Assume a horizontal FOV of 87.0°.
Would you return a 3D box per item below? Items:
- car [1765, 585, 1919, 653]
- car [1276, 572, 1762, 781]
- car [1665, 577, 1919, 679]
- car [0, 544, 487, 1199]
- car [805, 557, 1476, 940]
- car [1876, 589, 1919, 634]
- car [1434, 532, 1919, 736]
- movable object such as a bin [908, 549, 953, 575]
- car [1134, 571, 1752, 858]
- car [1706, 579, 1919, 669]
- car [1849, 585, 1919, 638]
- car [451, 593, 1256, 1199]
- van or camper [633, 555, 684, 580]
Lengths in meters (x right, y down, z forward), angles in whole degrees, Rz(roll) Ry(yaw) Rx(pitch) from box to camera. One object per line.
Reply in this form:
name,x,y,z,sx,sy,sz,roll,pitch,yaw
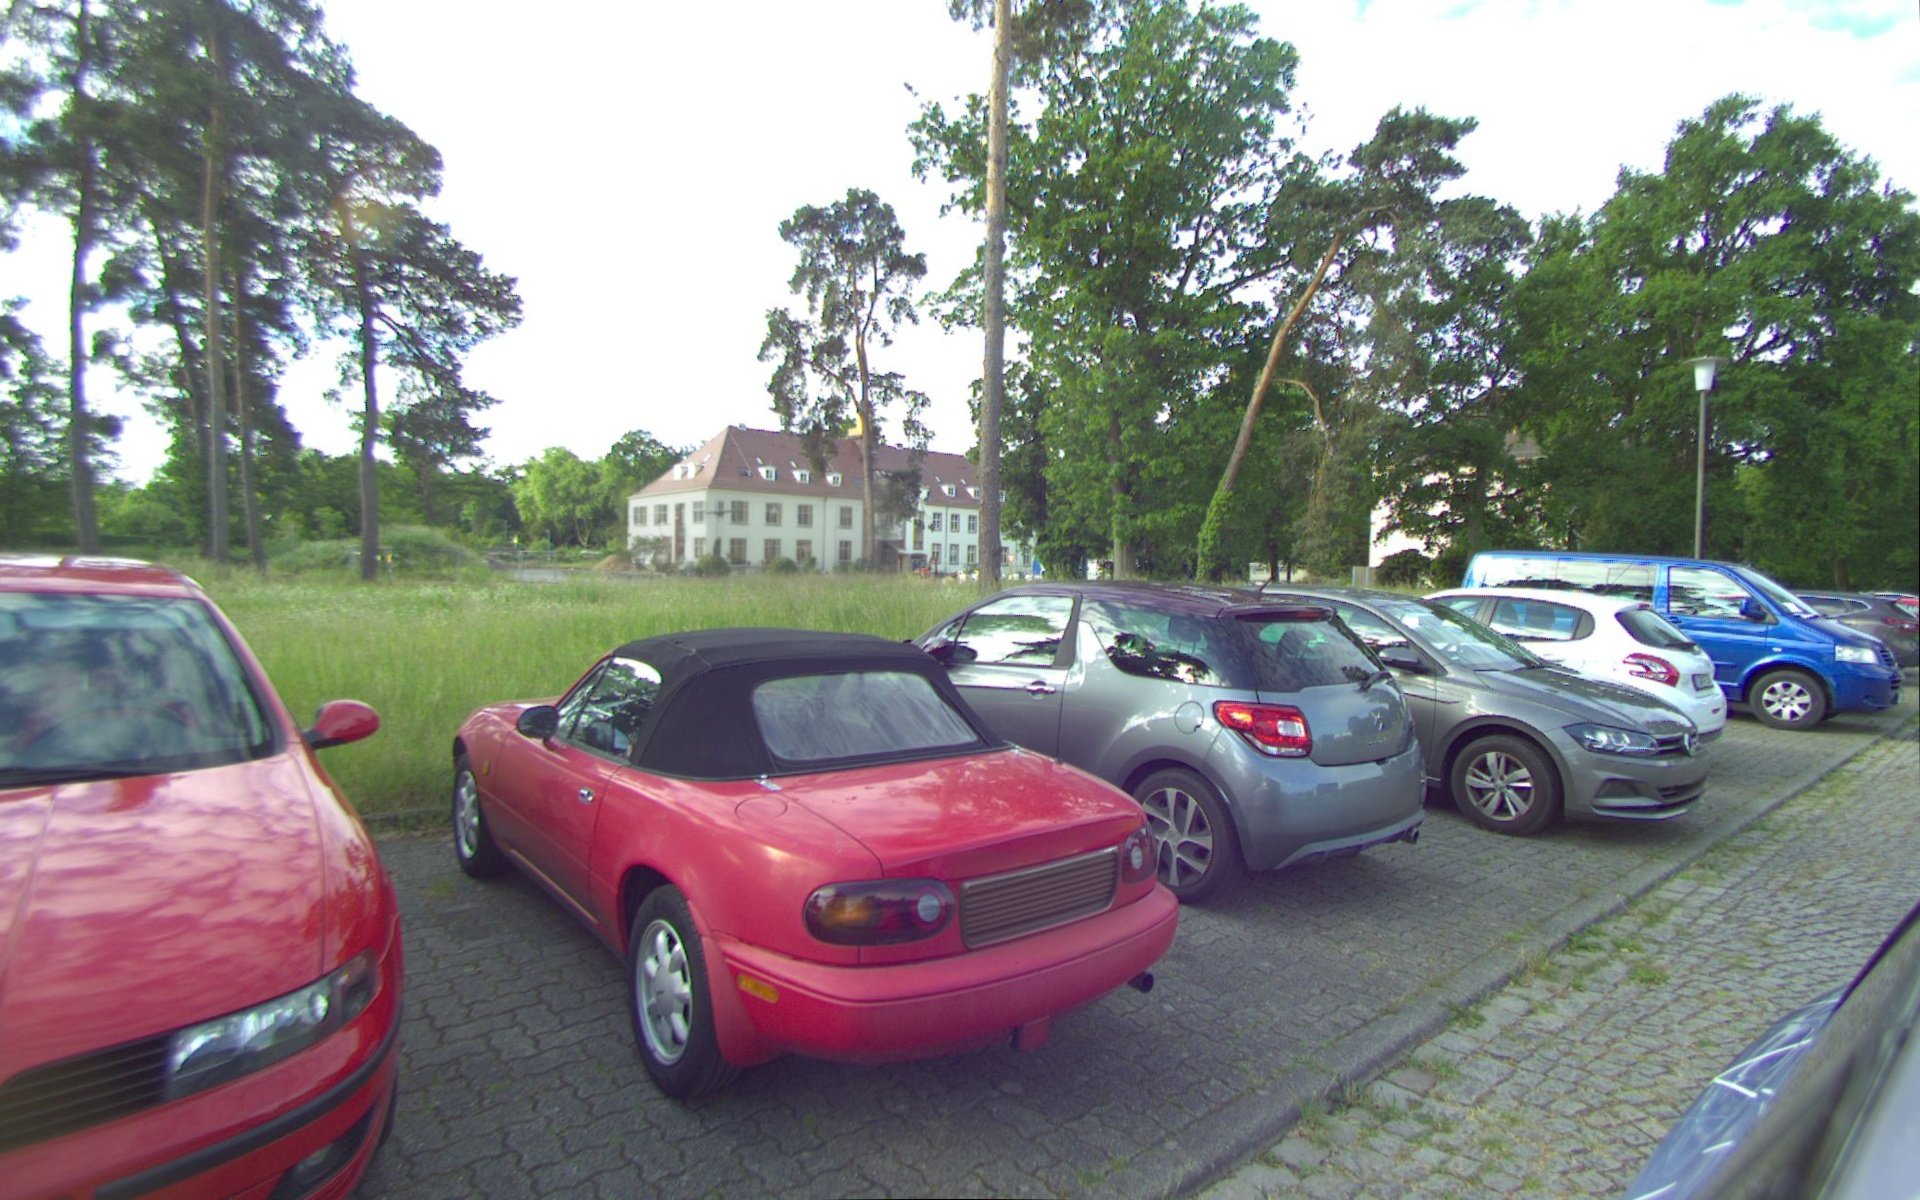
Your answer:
car,23.087,0.450,25.792,1.555,1.543,3.832,0,3,-44
car,5.131,0.547,9.724,1.552,1.517,3.763,0,2,-38
car,15.594,0.451,18.808,1.555,1.621,3.832,0,2,-44
car,-2.842,0.560,2.932,1.689,1.440,4.117,-2,4,-40
car,0.772,0.544,6.097,1.576,1.522,3.836,0,2,-40
car,34.624,0.457,35.188,1.642,1.548,3.841,0,2,-36
car,9.186,0.231,13.235,2.023,2.046,4.955,0,4,-39
movable object such as a bin,-3.367,-4.337,116.382,1.994,2.802,5.121,3,2,44
car,3.277,0.582,7.498,1.613,1.483,3.782,0,2,-38
car,17.701,0.433,20.762,1.555,1.621,3.627,0,2,-44
car,31.030,0.399,32.192,1.551,1.638,3.841,0,2,-36
car,-0.790,0.708,4.082,1.579,1.302,3.556,-2,3,-38
van or camper,-29.623,-3.212,99.210,6.063,2.250,1.969,3,3,43
